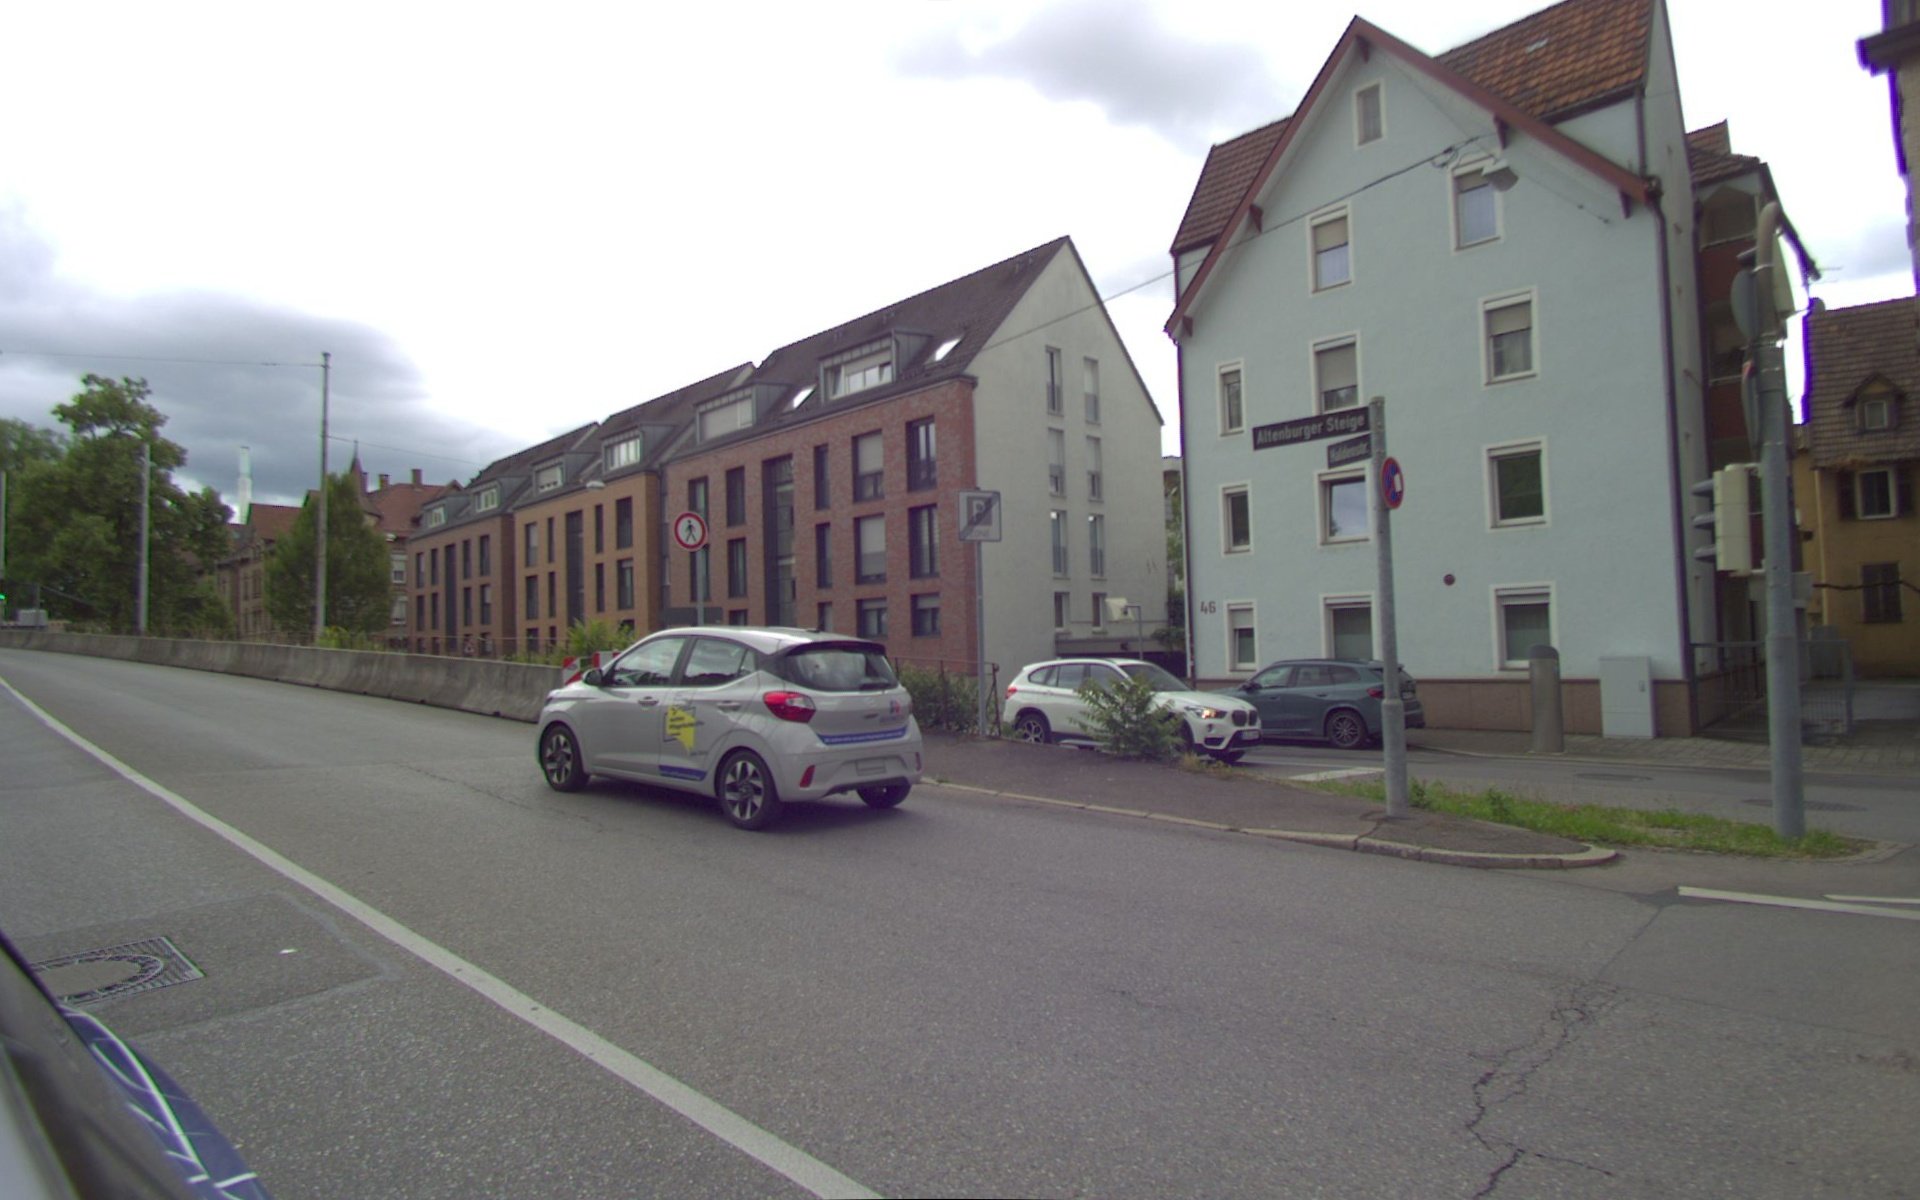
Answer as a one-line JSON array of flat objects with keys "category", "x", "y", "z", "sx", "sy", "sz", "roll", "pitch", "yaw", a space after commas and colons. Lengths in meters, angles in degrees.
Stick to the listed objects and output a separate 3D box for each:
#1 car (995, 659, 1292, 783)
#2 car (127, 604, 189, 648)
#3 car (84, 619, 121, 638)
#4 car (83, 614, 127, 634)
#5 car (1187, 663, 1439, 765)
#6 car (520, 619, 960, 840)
[{"category": "car", "x": 2.786, "y": 1.787, "z": 16.127, "sx": 1.806, "sy": 1.525, "sz": 4.426, "roll": 0, "pitch": -1, "yaw": -45}, {"category": "car", "x": -51.132, "y": 1.594, "z": 64.461, "sx": 2.529, "sy": 2.601, "sz": 5.740, "roll": -1, "pitch": 1, "yaw": -44}, {"category": "car", "x": -72.741, "y": 2.387, "z": 85.862, "sx": 4.000, "sy": 1.564, "sz": 1.972, "roll": -2, "pitch": -1, "yaw": 43}, {"category": "car", "x": -62.676, "y": 1.770, "z": 74.176, "sx": 4.000, "sy": 1.364, "sz": 1.972, "roll": -1, "pitch": -3, "yaw": 43}, {"category": "car", "x": 6.638, "y": 2.070, "z": 19.315, "sx": 4.234, "sy": 1.567, "sz": 1.663, "roll": -1, "pitch": -1, "yaw": 44}, {"category": "car", "x": -1.951, "y": 0.983, "z": 8.586, "sx": 3.637, "sy": 1.479, "sz": 1.654, "roll": -2, "pitch": -5, "yaw": 37}]
